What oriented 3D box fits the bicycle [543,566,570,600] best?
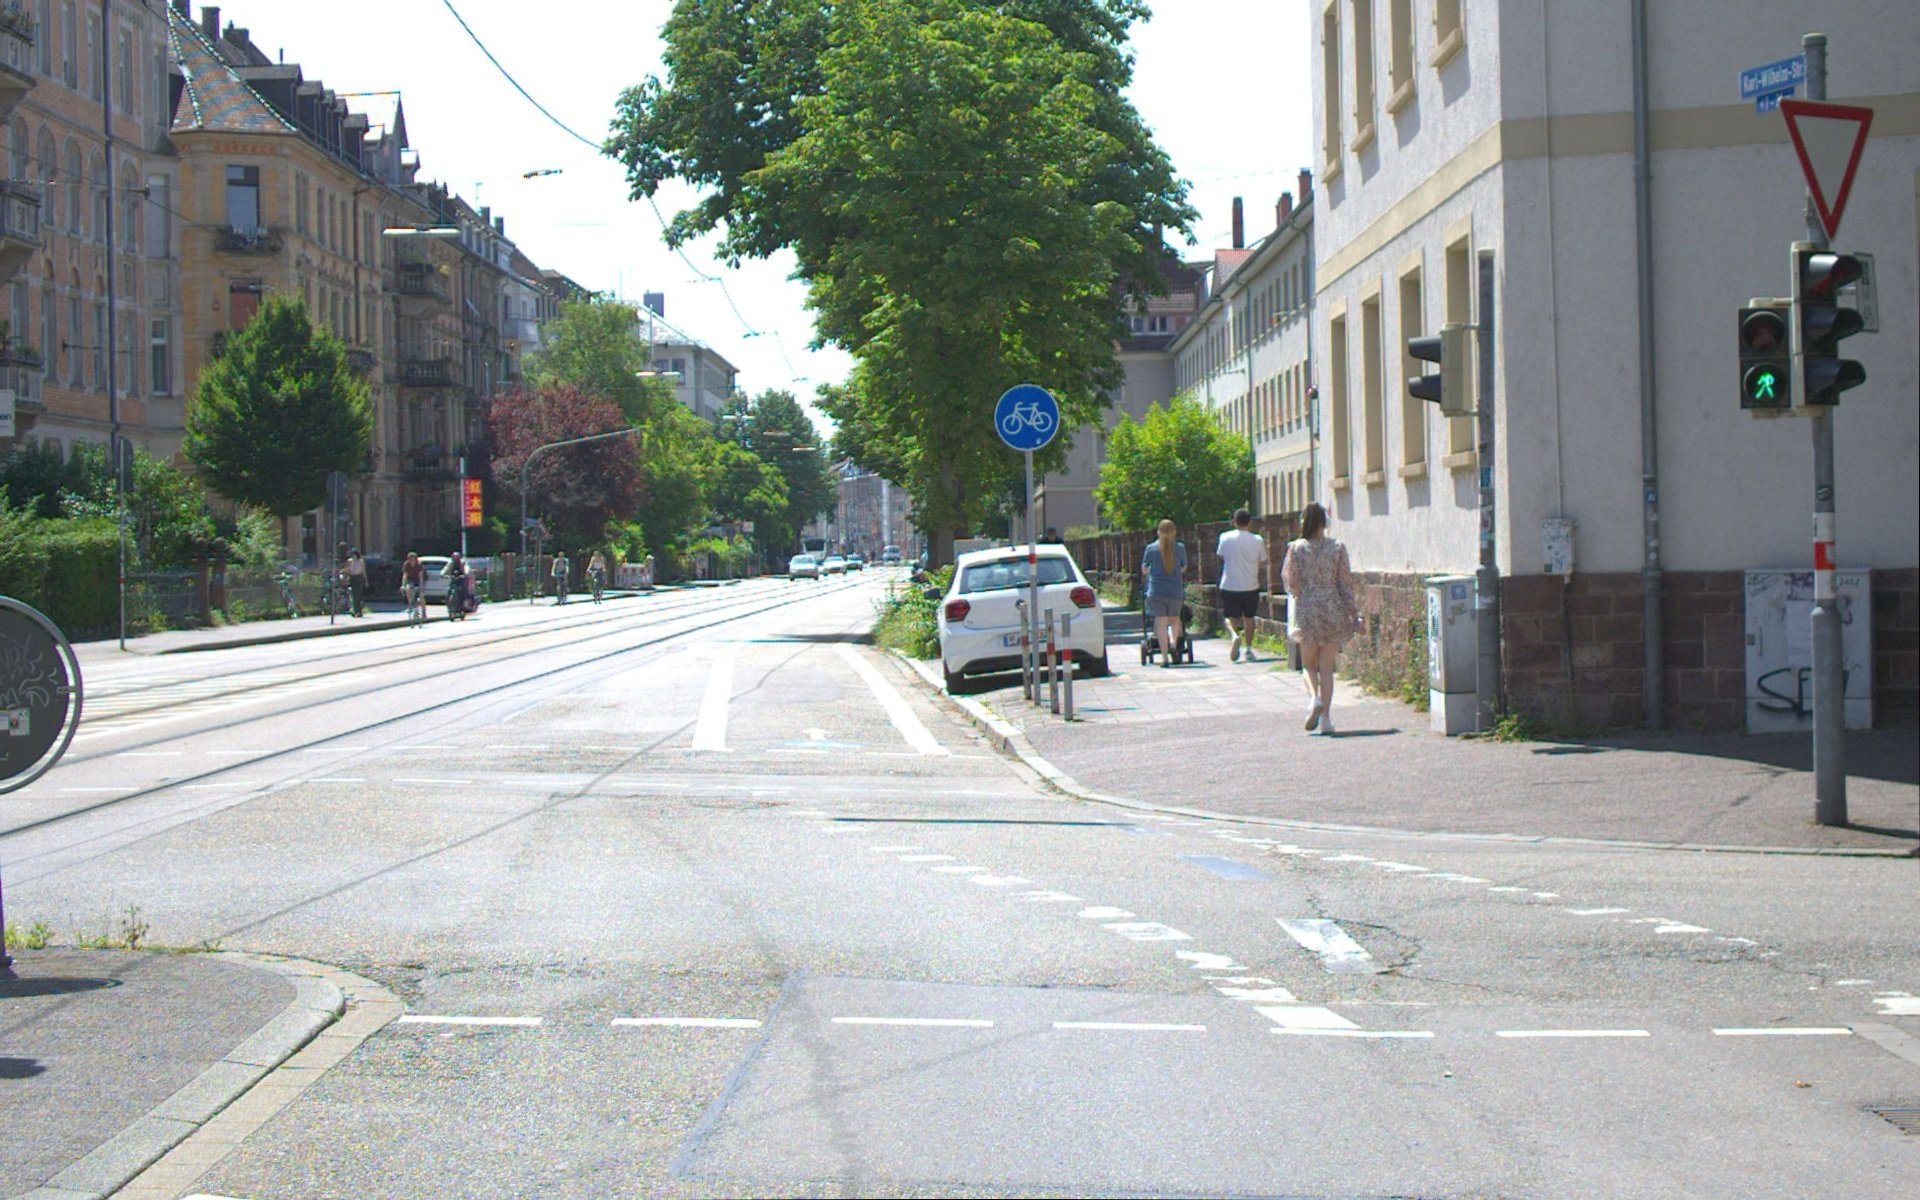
[{"bbox_3d":[-13.170,-0.554,112.349,0.629,1.074,1.875,-2,1,0],"label":"bicycle"}]

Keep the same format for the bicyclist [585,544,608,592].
[{"bbox_3d":[-11.887,-1.051,112.447,0.592,1.539,0.952,-2,1,0],"label":"bicyclist"}]

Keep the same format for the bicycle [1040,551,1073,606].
[{"bbox_3d":[1.874,-0.426,66.727,0.602,1.047,1.822,-1,1,2],"label":"bicycle"}]

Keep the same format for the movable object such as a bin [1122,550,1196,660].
[{"bbox_3d":[2.256,0.048,39.096,0.697,1.182,1.036,-4,1,-1],"label":"movable object such as a bin"}]

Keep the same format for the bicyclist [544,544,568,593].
[{"bbox_3d":[-13.191,-1.039,112.260,0.634,1.579,1.028,-2,1,0],"label":"bicyclist"}]

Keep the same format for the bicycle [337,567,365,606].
[{"bbox_3d":[-15.824,-0.366,89.375,0.438,0.980,1.711,-1,1,-2],"label":"bicycle"}]

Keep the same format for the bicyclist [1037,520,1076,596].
[{"bbox_3d":[1.874,-0.817,66.744,0.711,1.447,1.010,-1,1,2],"label":"bicyclist"}]

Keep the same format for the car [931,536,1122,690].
[{"bbox_3d":[0.662,0.096,37.039,1.777,1.405,4.157,-6,1,-1],"label":"car"}]

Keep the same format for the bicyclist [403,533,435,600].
[{"bbox_3d":[-12.359,-0.759,78.538,0.562,1.510,0.892,-1,1,1],"label":"bicyclist"}]

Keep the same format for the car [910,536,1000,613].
[{"bbox_3d":[-0.125,-0.545,70.965,1.656,1.510,4.001,-1,1,-3],"label":"car"}]

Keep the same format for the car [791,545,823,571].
[{"bbox_3d":[-9.135,-2.518,205.235,1.684,1.444,4.000,-2,1,0],"label":"car"}]

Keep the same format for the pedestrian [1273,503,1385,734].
[{"bbox_3d":[2.710,0.126,25.299,0.697,1.664,0.756,-1,1,-1],"label":"pedestrian"}]

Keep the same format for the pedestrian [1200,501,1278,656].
[{"bbox_3d":[3.112,-0.245,38.438,0.697,1.664,0.756,-4,1,-1],"label":"pedestrian"}]

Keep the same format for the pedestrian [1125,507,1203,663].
[{"bbox_3d":[2.261,-0.169,38.138,0.697,1.664,0.869,-4,1,-1],"label":"pedestrian"}]

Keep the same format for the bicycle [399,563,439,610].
[{"bbox_3d":[-12.358,-0.310,78.549,0.567,1.034,1.829,-1,1,1],"label":"bicycle"}]

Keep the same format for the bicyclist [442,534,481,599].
[{"bbox_3d":[-12.650,-0.861,87.260,0.807,1.624,0.980,-1,1,1],"label":"bicyclist"}]

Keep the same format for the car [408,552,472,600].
[{"bbox_3d":[-17.434,-0.825,115.432,1.865,1.594,4.102,0,1,-5],"label":"car"}]

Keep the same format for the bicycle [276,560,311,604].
[{"bbox_3d":[-15.925,-0.437,82.188,0.496,0.984,1.711,3,1,-2],"label":"bicycle"}]

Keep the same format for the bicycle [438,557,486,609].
[{"bbox_3d":[-12.635,-0.430,87.301,0.807,1.267,2.551,-1,1,1],"label":"bicycle"}]

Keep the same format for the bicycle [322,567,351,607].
[{"bbox_3d":[-15.839,-0.343,87.334,0.438,0.980,1.711,-1,1,-2],"label":"bicycle"}]

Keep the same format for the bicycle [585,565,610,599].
[{"bbox_3d":[-11.866,-0.586,112.438,0.581,1.074,1.891,-2,1,0],"label":"bicycle"}]
